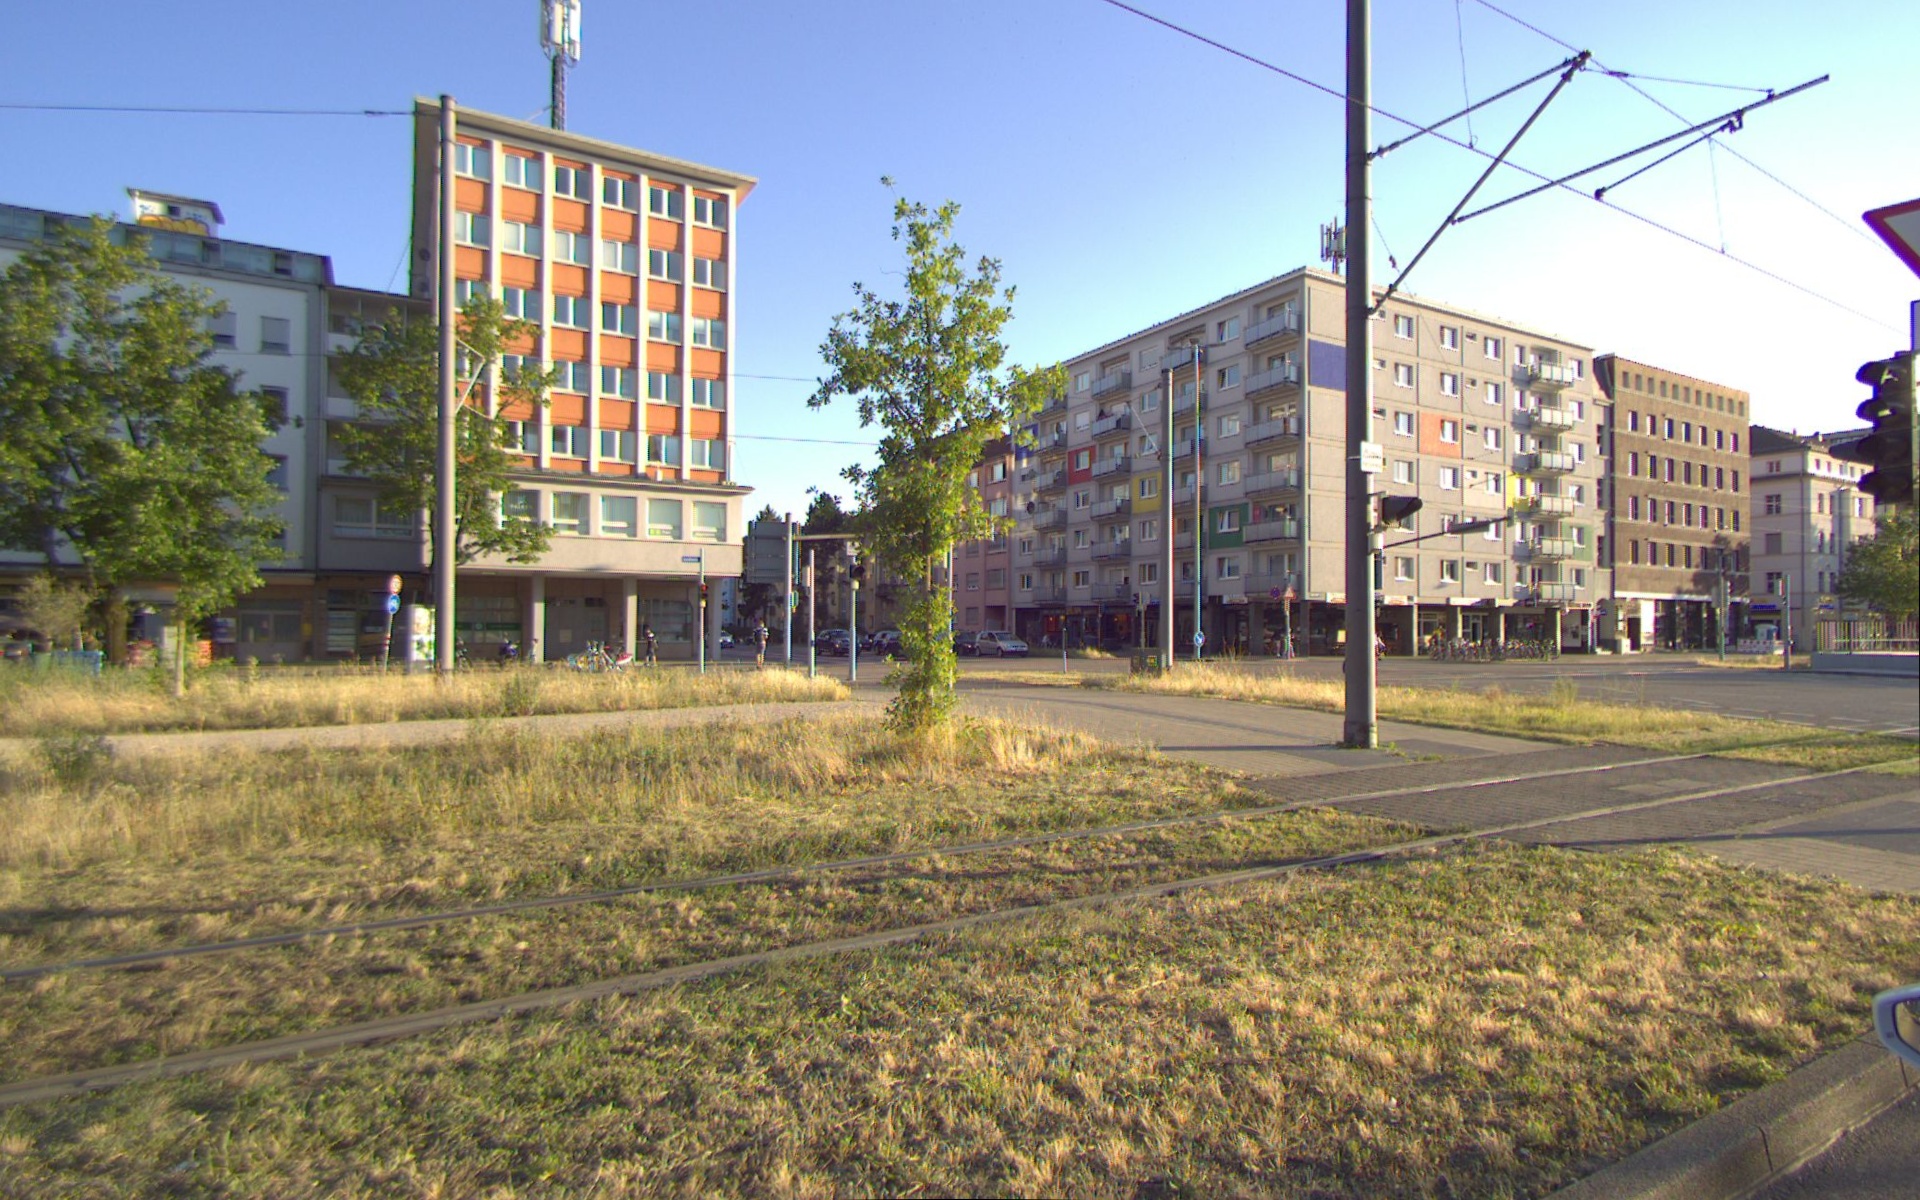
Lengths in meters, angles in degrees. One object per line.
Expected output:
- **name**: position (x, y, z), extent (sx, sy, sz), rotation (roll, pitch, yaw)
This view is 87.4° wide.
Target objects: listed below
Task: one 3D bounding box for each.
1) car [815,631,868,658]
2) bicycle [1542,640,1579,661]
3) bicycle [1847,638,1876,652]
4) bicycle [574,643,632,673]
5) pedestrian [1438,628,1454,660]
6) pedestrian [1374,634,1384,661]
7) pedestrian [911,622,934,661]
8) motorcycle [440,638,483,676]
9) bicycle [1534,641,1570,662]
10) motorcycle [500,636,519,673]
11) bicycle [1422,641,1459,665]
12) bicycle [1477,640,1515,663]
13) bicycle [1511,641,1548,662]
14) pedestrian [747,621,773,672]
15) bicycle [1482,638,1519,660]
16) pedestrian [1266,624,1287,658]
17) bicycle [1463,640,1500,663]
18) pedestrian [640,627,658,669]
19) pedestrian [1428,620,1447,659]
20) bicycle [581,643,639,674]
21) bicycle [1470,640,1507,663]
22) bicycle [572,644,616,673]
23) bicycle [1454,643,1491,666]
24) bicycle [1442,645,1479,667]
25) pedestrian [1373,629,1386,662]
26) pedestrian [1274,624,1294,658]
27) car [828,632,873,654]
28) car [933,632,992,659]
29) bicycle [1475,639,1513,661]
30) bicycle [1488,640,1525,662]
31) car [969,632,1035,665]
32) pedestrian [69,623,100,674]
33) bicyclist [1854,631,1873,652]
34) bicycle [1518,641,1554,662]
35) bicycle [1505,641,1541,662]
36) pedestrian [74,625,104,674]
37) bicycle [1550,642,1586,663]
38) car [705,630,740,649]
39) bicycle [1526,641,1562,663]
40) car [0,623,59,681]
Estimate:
- **car**: position (-7.292, 2.682, 61.446), extent (1.975, 1.551, 3.971), rotation (1, -1, -28)
- **bicycle**: position (34.547, 2.911, 57.816), extent (0.739, 1.185, 1.684), rotation (1, -1, -28)
- **bicycle**: position (63.069, 3.116, 70.267), extent (1.636, 0.957, 0.509), rotation (0, -1, -6)
- **bicycle**: position (-13.303, 2.166, 37.467), extent (1.972, 1.089, 0.465), rotation (1, -1, -31)
- **pedestrian**: position (26.889, 2.428, 55.533), extent (0.539, 1.706, 0.577), rotation (1, -1, -25)
- **pedestrian**: position (21.693, 2.467, 51.997), extent (0.376, 1.401, 0.394), rotation (0, -1, 32)
- **pedestrian**: position (-1.794, 1.994, 48.234), extent (0.879, 1.855, 0.885), rotation (1, -1, -20)
- **motorcycle**: position (-17.787, 2.022, 35.852), extent (1.373, 1.335, 0.378), rotation (1, -1, -28)
- **bicycle**: position (33.866, 2.934, 57.464), extent (0.739, 1.194, 1.684), rotation (1, -1, -28)
- **motorcycle**: position (-17.023, 2.046, 37.915), extent (0.538, 1.335, 1.823), rotation (1, -1, -27)
- **bicycle**: position (25.808, 2.840, 53.948), extent (0.631, 1.224, 1.786), rotation (1, -2, -30)
- **bicycle**: position (29.259, 2.822, 54.895), extent (0.644, 1.206, 1.780), rotation (1, -2, -30)
- **bicycle**: position (32.038, 2.864, 56.524), extent (0.561, 1.134, 1.753), rotation (1, -1, -29)
- **pedestrian**: position (-7.866, 1.832, 39.598), extent (0.708, 1.972, 0.720), rotation (-1, -2, 43)
- **bicycle**: position (30.198, 2.754, 56.158), extent (0.598, 1.174, 1.768), rotation (1, -2, -29)
- **pedestrian**: position (17.526, 2.288, 55.545), extent (0.715, 1.837, 0.819), rotation (2, 0, -40)
- **bicycle**: position (28.182, 2.757, 54.298), extent (0.534, 1.183, 1.758), rotation (1, -1, -29)
- **pedestrian**: position (-13.606, 2.095, 43.927), extent (0.623, 1.792, 0.593), rotation (1, -1, -30)
- **pedestrian**: position (27.217, 2.222, 57.258), extent (0.783, 2.207, 0.599), rotation (1, -1, -30)
- **bicycle**: position (-12.583, 2.106, 36.142), extent (1.885, 1.089, 0.465), rotation (1, -1, -31)
- **bicycle**: position (28.709, 2.790, 54.559), extent (0.561, 1.197, 1.761), rotation (1, -1, -29)
- **bicycle**: position (-14.069, 2.226, 38.580), extent (1.543, 1.089, 0.392), rotation (1, -1, -31)
- **bicycle**: position (27.624, 2.936, 54.126), extent (0.592, 1.154, 1.749), rotation (1, -1, -29)
- **bicycle**: position (26.945, 3.000, 54.072), extent (0.601, 1.157, 1.768), rotation (1, -2, -29)
- **pedestrian**: position (21.436, 2.319, 51.352), extent (0.563, 1.641, 0.602), rotation (0, -1, 29)
- **pedestrian**: position (17.596, 2.221, 54.504), extent (0.728, 1.866, 0.780), rotation (1, -2, -38)
- **car**: position (-7.913, 3.098, 72.571), extent (1.974, 1.505, 3.974), rotation (3, -3, -26)
- **car**: position (0.120, 2.661, 59.331), extent (1.974, 1.505, 3.974), rotation (1, -2, -26)
- **bicycle**: position (29.670, 2.765, 55.802), extent (0.632, 1.176, 1.823), rotation (1, -2, -29)
- **bicycle**: position (30.726, 2.859, 56.506), extent (0.598, 1.151, 1.763), rotation (1, -2, -29)
- **car**: position (2.284, 2.650, 55.578), extent (1.974, 1.506, 3.973), rotation (2, 1, -26)
- **pedestrian**: position (-31.758, 1.757, 36.437), extent (0.696, 1.816, 0.590), rotation (1, -1, -30)
- **bicyclist**: position (63.227, 2.923, 70.281), extent (0.841, 1.445, 0.500), rotation (0, -2, -5)
- **bicycle**: position (32.587, 2.890, 56.824), extent (0.626, 1.139, 1.720), rotation (2, -2, -28)
- **bicycle**: position (31.530, 2.883, 56.245), extent (0.545, 1.132, 1.747), rotation (1, -1, -29)
- **pedestrian**: position (-32.076, 1.822, 37.007), extent (0.690, 1.774, 0.646), rotation (1, -1, -30)
- **bicycle**: position (35.181, 3.011, 58.160), extent (0.688, 1.159, 1.684), rotation (1, -1, -28)
- **car**: position (-20.073, 3.329, 84.816), extent (1.975, 1.551, 3.971), rotation (1, -2, -28)
- **bicycle**: position (33.206, 2.950, 57.118), extent (0.696, 1.168, 1.684), rotation (1, -1, -28)
- **car**: position (-30.095, 1.546, 30.230), extent (3.927, 1.706, 1.997), rotation (1, -1, -9)
